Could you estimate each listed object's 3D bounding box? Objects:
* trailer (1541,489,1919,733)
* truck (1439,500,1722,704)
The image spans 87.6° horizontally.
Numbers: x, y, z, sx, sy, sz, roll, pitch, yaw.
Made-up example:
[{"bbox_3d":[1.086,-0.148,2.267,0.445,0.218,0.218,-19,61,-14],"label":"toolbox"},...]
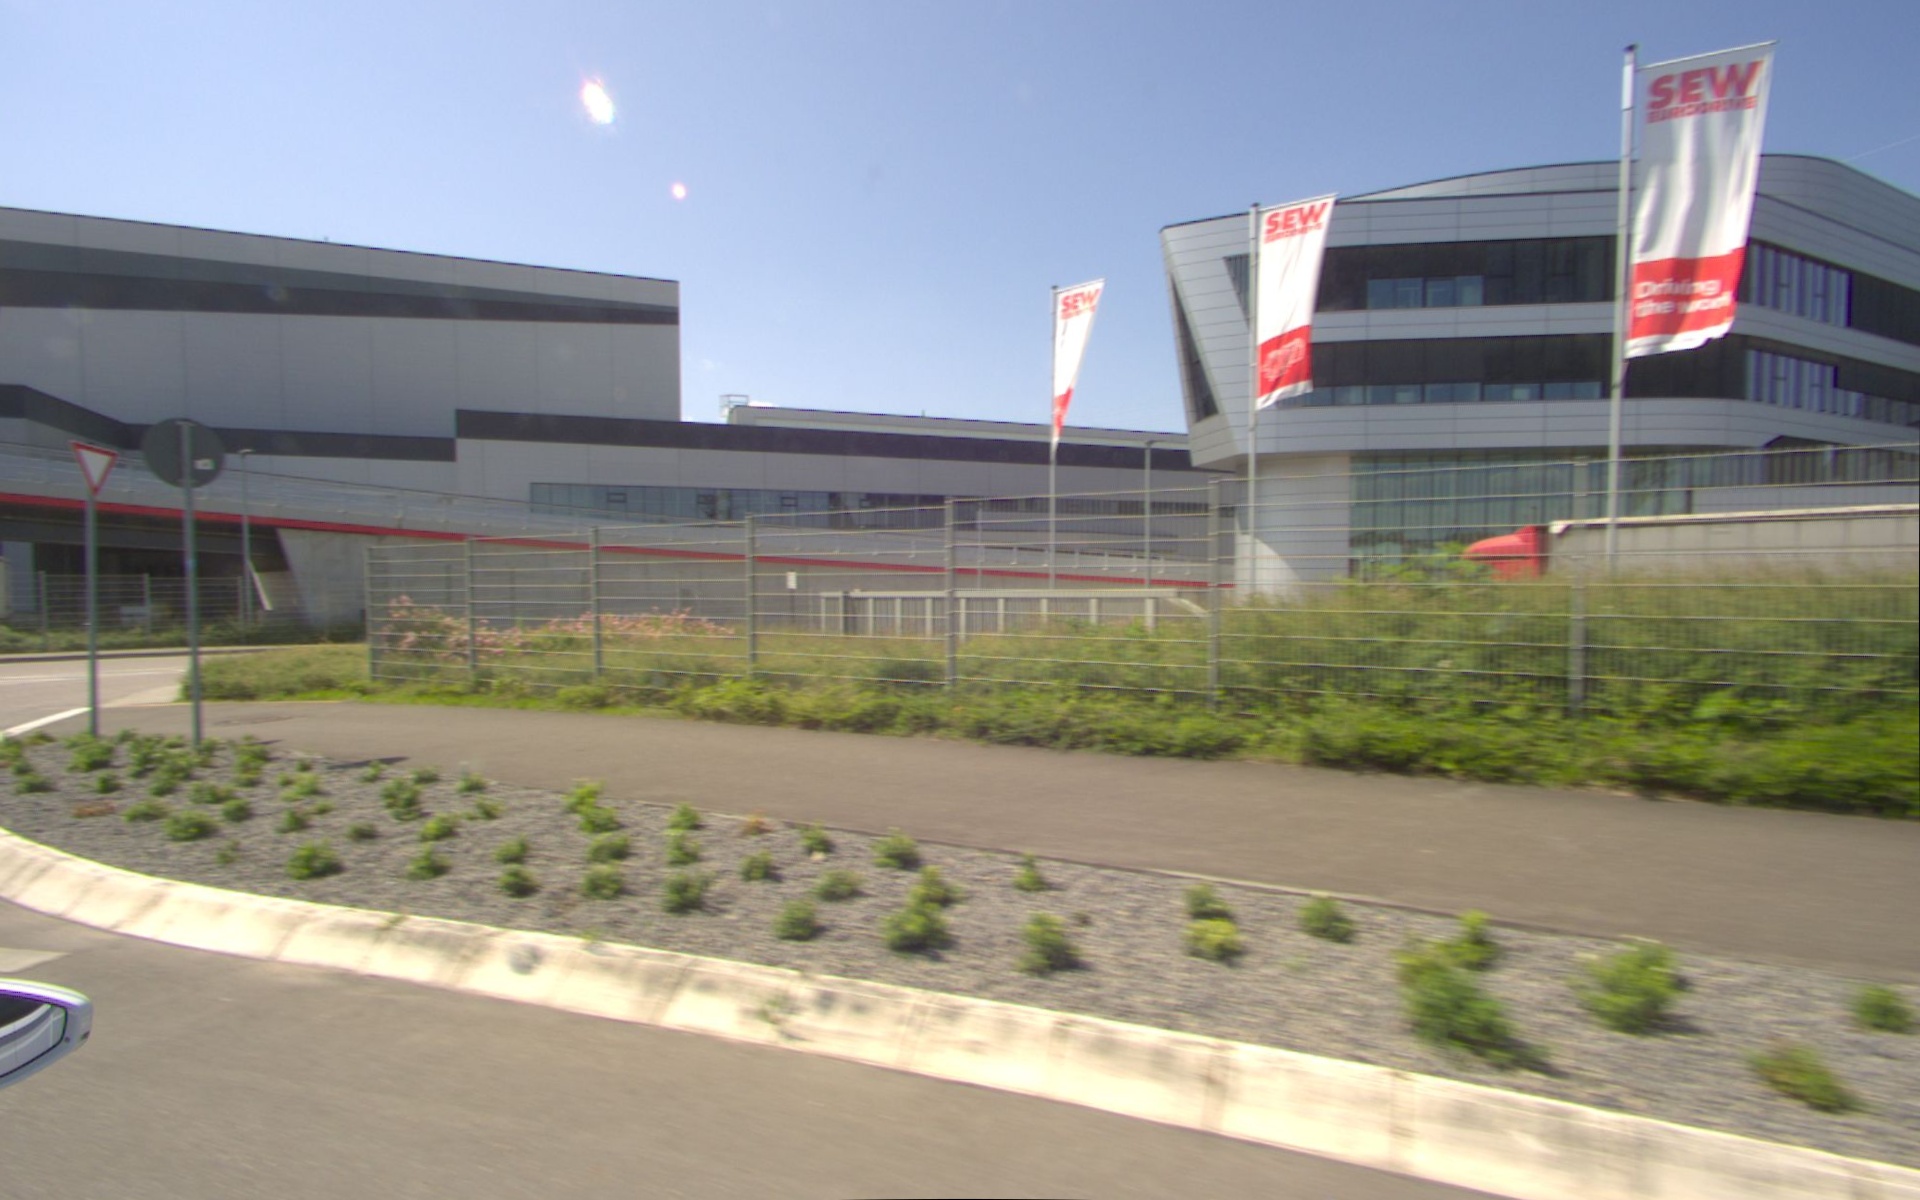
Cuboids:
[{"bbox_3d":[18.956,0.173,19.001,2.728,4.500,13.969,-3,3,-32],"label":"trailer"},{"bbox_3d":[15.199,-0.073,24.902,2.728,4.485,5.255,-3,4,-33],"label":"truck"}]
